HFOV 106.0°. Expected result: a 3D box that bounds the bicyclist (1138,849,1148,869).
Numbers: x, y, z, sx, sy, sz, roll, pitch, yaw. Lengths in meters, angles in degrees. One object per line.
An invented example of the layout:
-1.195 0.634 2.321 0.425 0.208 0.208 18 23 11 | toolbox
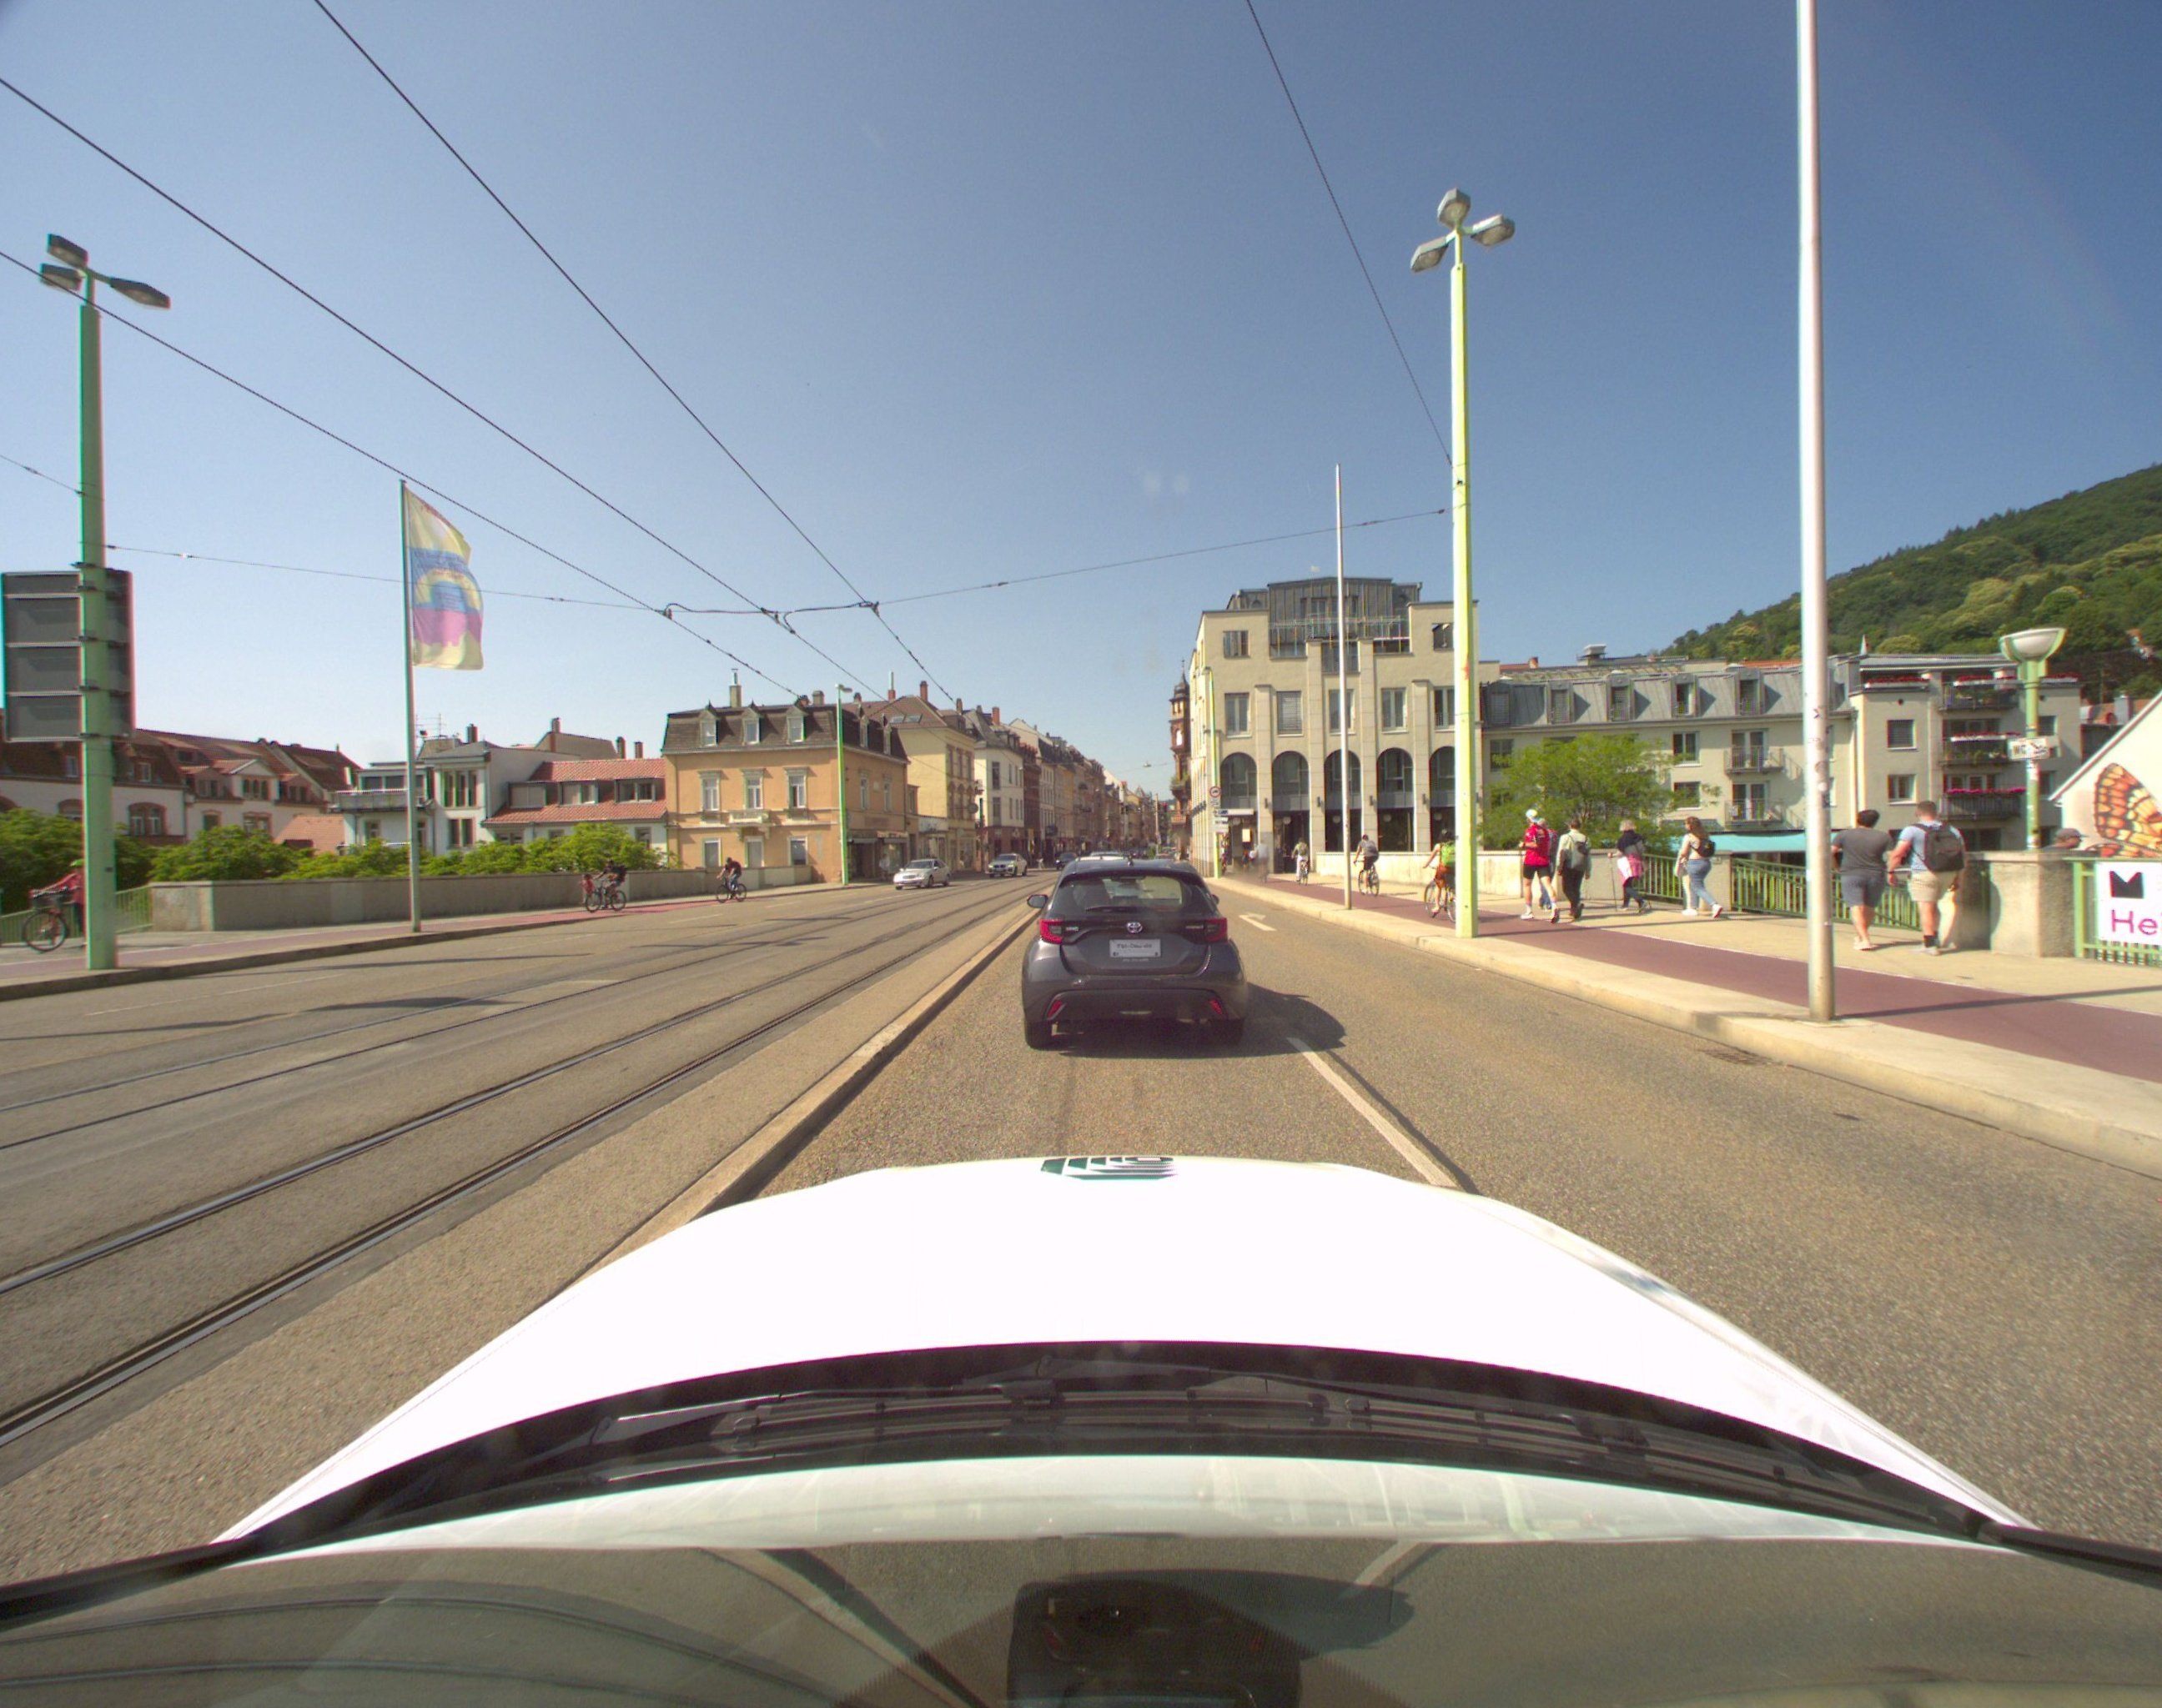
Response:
8.106 0.625 106.411 1.222 2.529 1.106 3 0 5 | bicyclist

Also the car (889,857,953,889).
-7.736 0.891 39.870 1.722 1.460 4.382 -2 0 7 | car

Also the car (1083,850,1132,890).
1.069 0.621 33.537 1.890 1.530 4.001 0 0 1 | car

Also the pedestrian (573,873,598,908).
-16.773 1.241 27.562 0.409 1.146 0.546 3 0 12 | pedestrian

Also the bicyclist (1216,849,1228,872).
8.490 0.396 49.076 0.532 1.383 0.669 -3 0 1 | bicyclist

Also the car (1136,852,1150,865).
10.269 0.772 134.754 1.983 2.013 4.007 3 0 6 | car

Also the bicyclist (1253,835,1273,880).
7.496 0.127 33.615 0.585 1.820 0.702 -2 0 -1 | bicyclist

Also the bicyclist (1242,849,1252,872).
9.976 0.390 48.925 0.420 1.383 0.444 -3 0 1 | bicyclist

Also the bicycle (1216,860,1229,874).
8.506 0.785 49.127 0.512 0.765 1.661 -3 0 2 | bicycle

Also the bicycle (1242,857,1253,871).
9.988 0.601 48.893 0.415 0.765 0.962 -3 0 2 | bicycle

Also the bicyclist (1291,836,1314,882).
8.116 0.184 29.873 0.585 1.650 0.702 -2 0 -1 | bicyclist

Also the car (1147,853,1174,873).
5.944 0.628 61.510 1.699 1.466 4.327 0 0 1 | car

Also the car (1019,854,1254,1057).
0.452 0.742 7.791 1.713 1.473 3.659 0 0 1 | car

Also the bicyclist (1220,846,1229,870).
9.259 0.254 52.523 0.438 1.466 0.488 -3 0 24 | bicyclist

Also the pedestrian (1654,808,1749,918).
10.434 0.147 13.726 0.737 1.746 1.015 -3 0 -2 | pedestrian

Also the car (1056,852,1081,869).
-1.168 0.639 78.905 1.784 1.545 3.930 -2 0 8 | car

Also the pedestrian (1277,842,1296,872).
11.464 0.180 45.467 0.736 1.615 1.016 3 0 1 | pedestrian

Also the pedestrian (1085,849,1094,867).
1.225 0.534 118.405 1.047 2.588 1.502 3 0 2 | pedestrian

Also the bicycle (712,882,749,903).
-13.648 1.485 31.756 0.618 0.716 1.732 0 1 2 | bicycle

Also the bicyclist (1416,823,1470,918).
6.519 0.295 14.695 0.602 1.650 0.702 -2 0 2 | bicyclist

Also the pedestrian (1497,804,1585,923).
7.805 0.157 13.882 0.808 1.924 1.128 -2 0 1 | pedestrian

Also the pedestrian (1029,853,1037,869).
-5.313 0.745 90.339 0.733 1.766 0.787 -1 1 2 | pedestrian

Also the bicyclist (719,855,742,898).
-13.647 0.871 31.694 0.625 1.650 0.622 0 1 2 | bicyclist

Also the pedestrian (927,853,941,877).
-10.649 0.804 58.984 0.757 1.654 0.713 3 0 9 | pedestrian

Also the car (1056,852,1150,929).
0.492 0.723 18.270 1.890 1.530 4.001 0 0 1 | car

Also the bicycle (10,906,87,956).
-18.779 1.379 14.846 0.626 0.716 1.910 0 1 -44 | bicycle

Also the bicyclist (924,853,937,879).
-9.834 0.766 53.098 0.623 1.650 0.623 0 1 10 | bicyclist

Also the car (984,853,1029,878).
-5.175 0.768 57.249 1.981 1.586 4.665 -2 0 10 | car

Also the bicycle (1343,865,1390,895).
7.874 0.701 22.542 0.592 0.765 1.830 -2 0 -1 | bicycle

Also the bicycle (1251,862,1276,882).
7.522 0.731 33.633 0.592 0.765 1.866 -2 0 -1 | bicycle

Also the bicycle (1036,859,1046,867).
-4.079 0.905 83.293 0.616 0.716 2.051 0 1 11 | bicycle

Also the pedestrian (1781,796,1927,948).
9.367 0.210 9.916 0.736 1.718 1.016 -3 0 1 | pedestrian

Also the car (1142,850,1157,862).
12.418 0.311 148.040 1.980 2.013 4.014 3 0 14 | car

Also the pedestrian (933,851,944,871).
-11.427 0.568 65.254 0.646 1.602 0.566 3 2 2 | pedestrian

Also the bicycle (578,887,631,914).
-15.127 1.467 25.902 0.618 0.716 1.772 0 1 2 | bicycle

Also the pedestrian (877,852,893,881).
-12.290 0.794 51.058 0.733 1.766 0.787 3 0 2 | pedestrian

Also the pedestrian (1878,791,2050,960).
9.572 0.220 8.879 0.736 1.718 1.016 -2 0 1 | pedestrian

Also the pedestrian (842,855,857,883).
-13.419 0.858 47.228 0.646 1.602 0.566 3 2 2 | pedestrian

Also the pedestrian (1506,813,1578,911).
8.867 0.149 15.704 0.736 1.802 1.016 -3 0 1 | pedestrian

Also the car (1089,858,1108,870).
2.225 1.270 102.783 1.982 1.432 4.010 0 0 8 | car

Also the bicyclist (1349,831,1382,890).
7.854 0.176 22.502 0.585 1.559 0.702 -2 0 -1 | bicyclist

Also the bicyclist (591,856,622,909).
-15.121 0.895 25.953 0.625 1.650 0.622 0 1 2 | bicyclist

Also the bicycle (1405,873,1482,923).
6.554 0.773 14.814 0.591 0.765 1.867 -2 0 2 | bicycle

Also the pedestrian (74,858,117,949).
-18.315 0.899 15.145 0.415 1.632 0.620 1 0 -44 | pedestrian

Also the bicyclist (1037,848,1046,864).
-4.047 0.198 83.418 0.701 1.650 0.623 0 1 10 | bicyclist

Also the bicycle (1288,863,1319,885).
8.146 0.719 29.857 0.592 0.765 1.866 -2 0 -1 | bicycle

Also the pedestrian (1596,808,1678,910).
10.143 0.088 14.893 0.736 1.777 1.016 -3 0 1 | pedestrian

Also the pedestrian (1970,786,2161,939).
12.387 0.100 10.276 1.200 1.777 0.979 -3 0 -3 | pedestrian

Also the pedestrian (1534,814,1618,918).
8.627 0.198 14.238 0.752 1.718 1.073 -3 0 1 | pedestrian
